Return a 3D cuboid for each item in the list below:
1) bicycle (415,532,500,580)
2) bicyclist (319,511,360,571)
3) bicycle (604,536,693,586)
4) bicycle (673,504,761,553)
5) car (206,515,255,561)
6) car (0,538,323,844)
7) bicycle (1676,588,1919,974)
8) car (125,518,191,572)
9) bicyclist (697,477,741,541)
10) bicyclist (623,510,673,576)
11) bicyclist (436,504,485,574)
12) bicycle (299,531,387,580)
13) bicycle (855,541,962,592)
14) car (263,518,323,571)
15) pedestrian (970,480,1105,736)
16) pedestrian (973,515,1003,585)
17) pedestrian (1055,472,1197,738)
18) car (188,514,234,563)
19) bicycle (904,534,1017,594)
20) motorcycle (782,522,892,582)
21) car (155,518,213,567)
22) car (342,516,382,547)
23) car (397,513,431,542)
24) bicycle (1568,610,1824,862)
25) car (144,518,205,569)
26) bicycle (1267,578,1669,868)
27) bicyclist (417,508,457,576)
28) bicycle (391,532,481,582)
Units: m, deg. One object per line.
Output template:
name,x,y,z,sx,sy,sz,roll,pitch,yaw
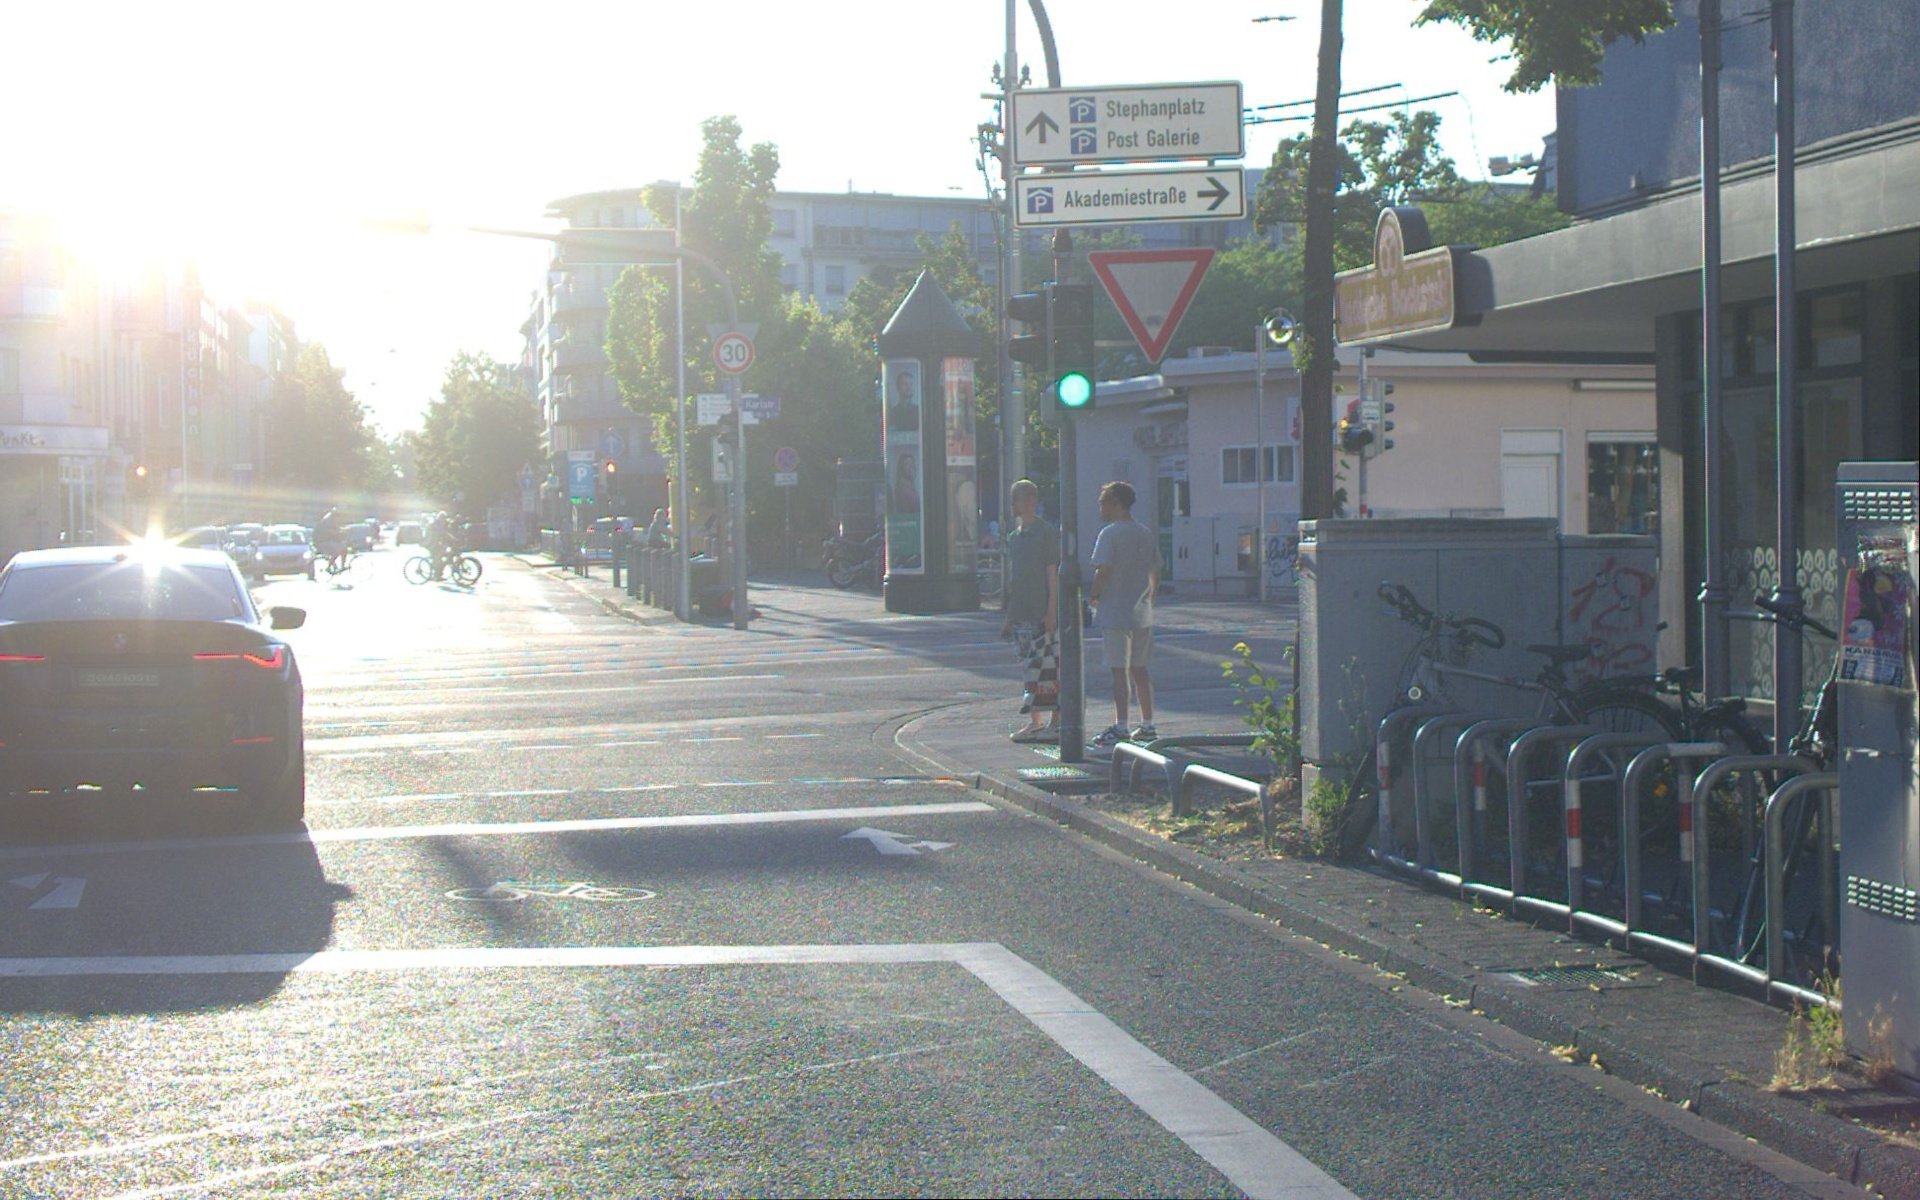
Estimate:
bicycle,-13.018,-1.139,89.031,2.117,1.200,0.500,1,0,0
bicyclist,-15.662,-1.486,86.793,0.899,1.476,0.735,1,0,1
bicycle,-7.649,-0.968,84.490,2.118,1.200,0.500,1,0,3
bicycle,-6.077,-1.793,86.009,2.118,1.200,0.500,1,0,7
car,-24.938,-2.123,117.600,1.482,1.554,3.259,0,1,-9
car,-4.574,0.417,18.921,1.890,1.475,4.544,1,1,-13
bicycle,3.215,0.564,11.359,1.656,1.190,0.494,-1,2,-21
car,-22.514,-1.560,96.611,1.544,1.478,3.353,-1,2,-9
bicyclist,-6.032,-2.271,86.006,0.960,1.596,0.646,1,0,7
bicyclist,-7.663,-1.406,84.490,1.129,1.596,0.702,1,0,2
bicyclist,-12.940,-1.586,89.007,1.129,1.784,0.765,1,0,0
bicycle,-15.576,-1.126,86.792,2.117,1.200,0.500,1,0,1
bicycle,-1.001,-0.662,67.464,2.077,0.979,0.560,-1,0,-1
car,-18.764,-1.566,96.747,1.544,1.462,3.353,0,1,-9
pedestrian,0.548,0.044,24.265,0.585,1.767,0.749,-2,2,-39
pedestrian,0.660,-1.176,81.141,0.680,1.651,0.696,1,0,-1
pedestrian,1.125,0.026,23.392,0.637,1.767,0.749,-2,2,-29
car,-24.347,-1.987,111.835,1.306,1.577,2.889,0,1,-9
bicycle,0.004,-0.641,61.774,2.020,1.041,0.560,-1,0,-1
motorcycle,-2.522,-0.988,70.482,2.234,1.197,0.720,-1,2,-3
car,-23.722,-1.756,105.149,1.544,1.464,3.353,0,1,-9
car,-33.725,-3.885,193.956,1.993,1.678,4.001,-1,2,-7
car,-35.211,-4.687,221.882,1.993,1.809,4.001,1,1,-7
bicycle,3.295,0.583,15.521,0.403,1.007,1.671,-3,2,-14
car,-22.888,-1.651,100.238,1.544,1.464,3.353,0,1,-9
bicycle,2.191,0.513,14.834,1.656,1.190,0.477,-1,2,-14
bicyclist,-12.783,-1.417,83.968,0.850,1.653,0.676,1,0,0
bicycle,-12.789,-1.045,83.966,2.117,1.200,0.500,1,0,0
